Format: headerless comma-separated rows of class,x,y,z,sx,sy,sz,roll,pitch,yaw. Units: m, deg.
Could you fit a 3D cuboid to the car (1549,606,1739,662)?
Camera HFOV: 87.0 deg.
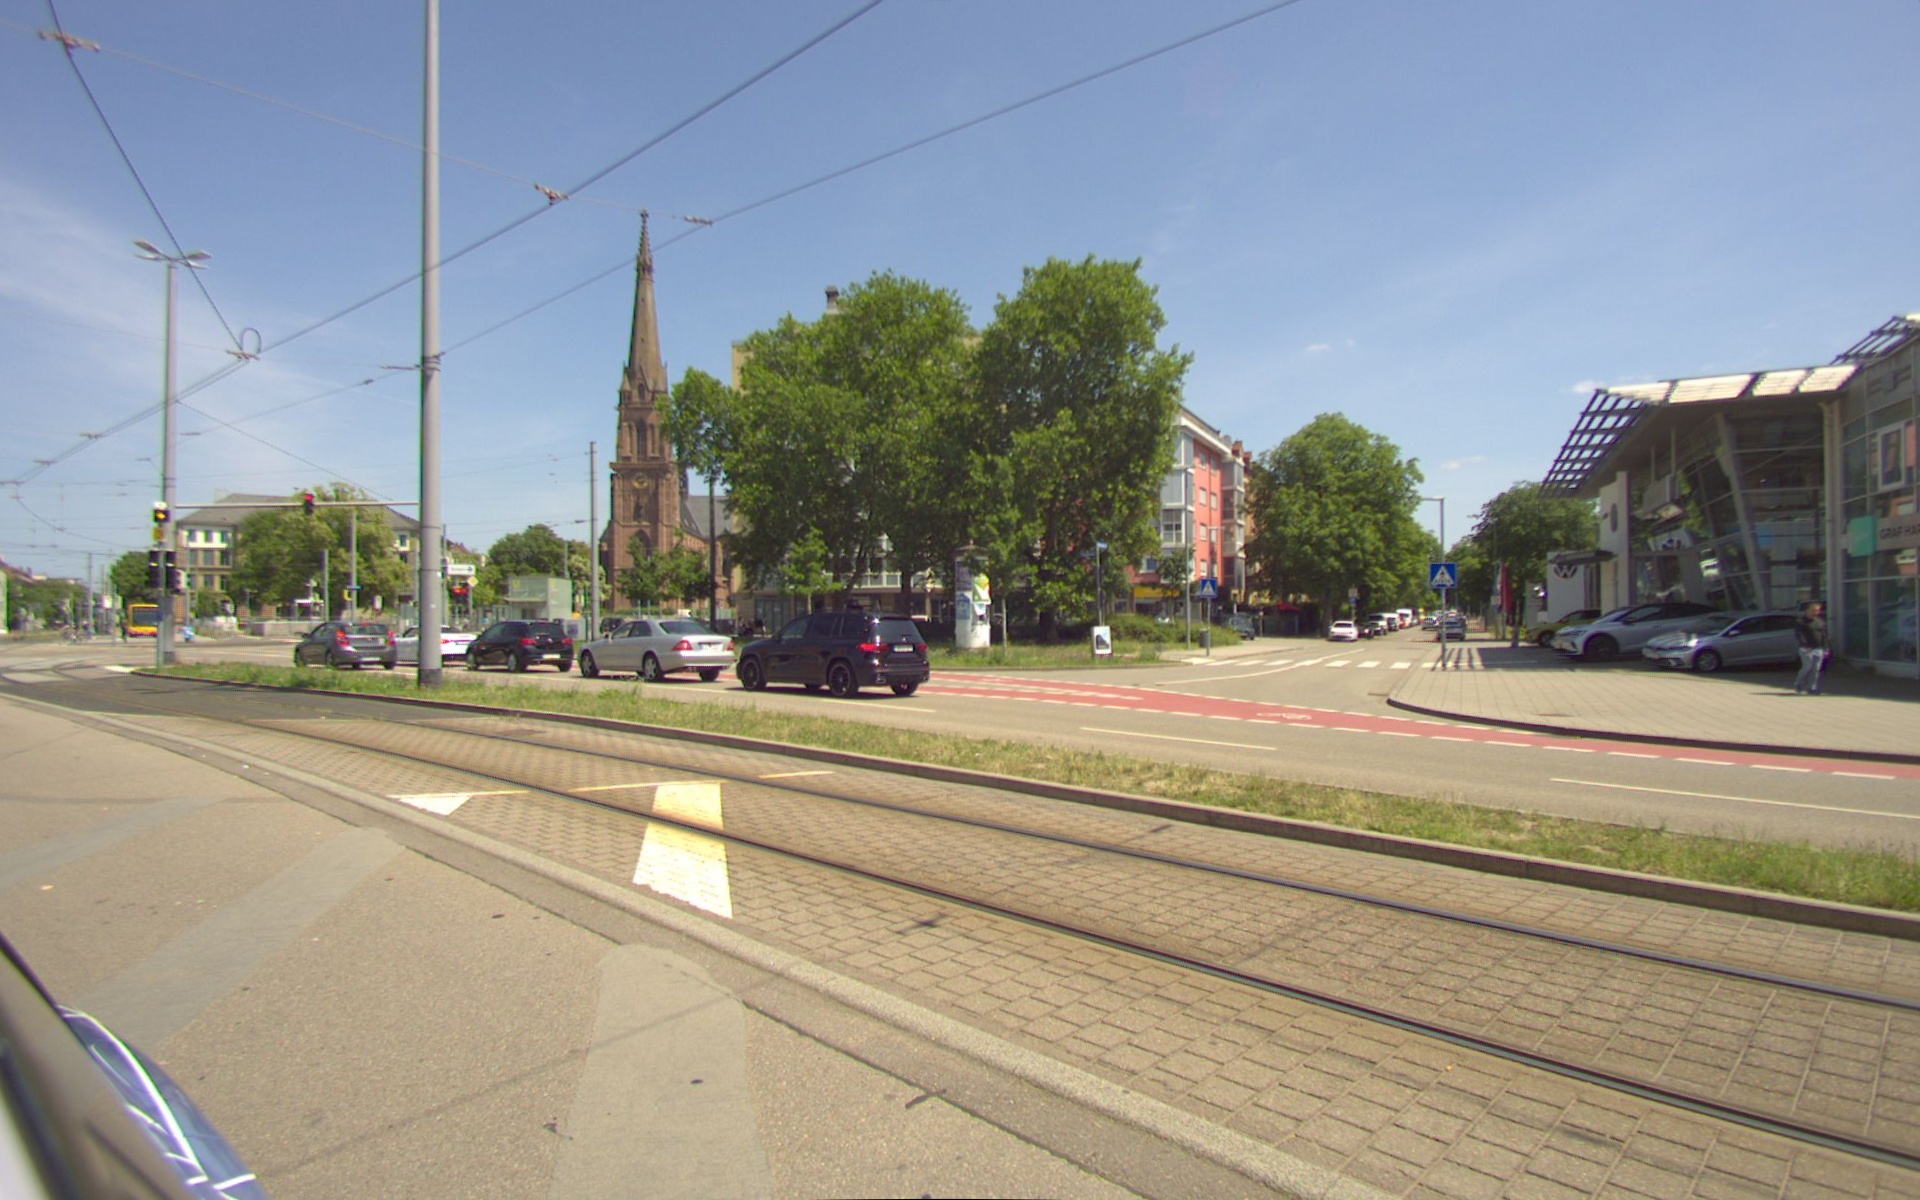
car,19.571,0.978,29.136,4.149,1.431,1.604,-3,-2,15

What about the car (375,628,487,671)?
car,-17.426,1.597,33.267,4.198,1.309,1.690,-1,-3,39

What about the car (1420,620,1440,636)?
car,55.096,3.254,118.551,1.774,1.807,3.960,-1,-1,29

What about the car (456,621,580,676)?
car,-12.710,1.365,29.002,3.899,1.473,1.654,-2,-2,39

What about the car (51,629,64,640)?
car,-131.978,5.039,148.044,1.419,1.608,4.005,0,-2,-41

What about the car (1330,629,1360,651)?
car,27.204,2.834,71.508,1.537,1.444,3.963,-1,-1,27

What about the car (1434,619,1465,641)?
car,35.604,2.176,73.595,1.822,1.570,3.961,-1,-1,28

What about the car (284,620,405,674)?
car,-18.477,1.392,30.304,4.327,1.491,1.824,-2,-3,40

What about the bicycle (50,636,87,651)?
bicycle,-62.377,3.025,70.790,0.527,0.986,1.884,-1,-1,34

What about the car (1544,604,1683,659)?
car,20.230,0.984,31.436,3.295,1.630,1.423,-1,-1,11

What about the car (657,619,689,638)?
car,-19.181,1.904,67.572,1.957,1.163,0.504,-3,0,-34

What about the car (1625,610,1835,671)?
car,19.456,1.009,25.693,4.003,1.468,1.500,-1,-1,4

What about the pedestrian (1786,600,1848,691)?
pedestrian,16.024,0.838,18.928,0.820,1.654,0.720,-2,-2,42

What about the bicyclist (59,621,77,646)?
bicyclist,-62.441,2.338,70.852,0.527,1.701,0.803,-2,-1,34

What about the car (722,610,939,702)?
car,-2.665,1.059,20.165,4.524,1.639,1.802,-2,-3,42

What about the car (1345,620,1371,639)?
car,31.198,2.316,79.247,1.537,1.444,3.963,-1,-1,27

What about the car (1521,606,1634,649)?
car,27.221,1.230,44.787,4.078,1.846,1.646,-1,-1,27

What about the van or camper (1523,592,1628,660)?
van or camper,28.575,1.226,47.139,3.981,3.026,1.981,-1,-1,28

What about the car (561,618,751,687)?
car,-7.599,1.242,25.045,5.126,1.542,1.974,-1,-3,39

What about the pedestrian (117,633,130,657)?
pedestrian,-60.895,3.266,73.673,0.447,1.684,0.651,-1,-1,23

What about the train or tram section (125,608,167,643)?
train or tram section,-78.730,2.453,97.808,2.800,3.238,9.122,0,-2,-41

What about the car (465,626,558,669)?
car,-17.822,1.872,40.109,4.394,1.610,1.519,-2,-3,39
